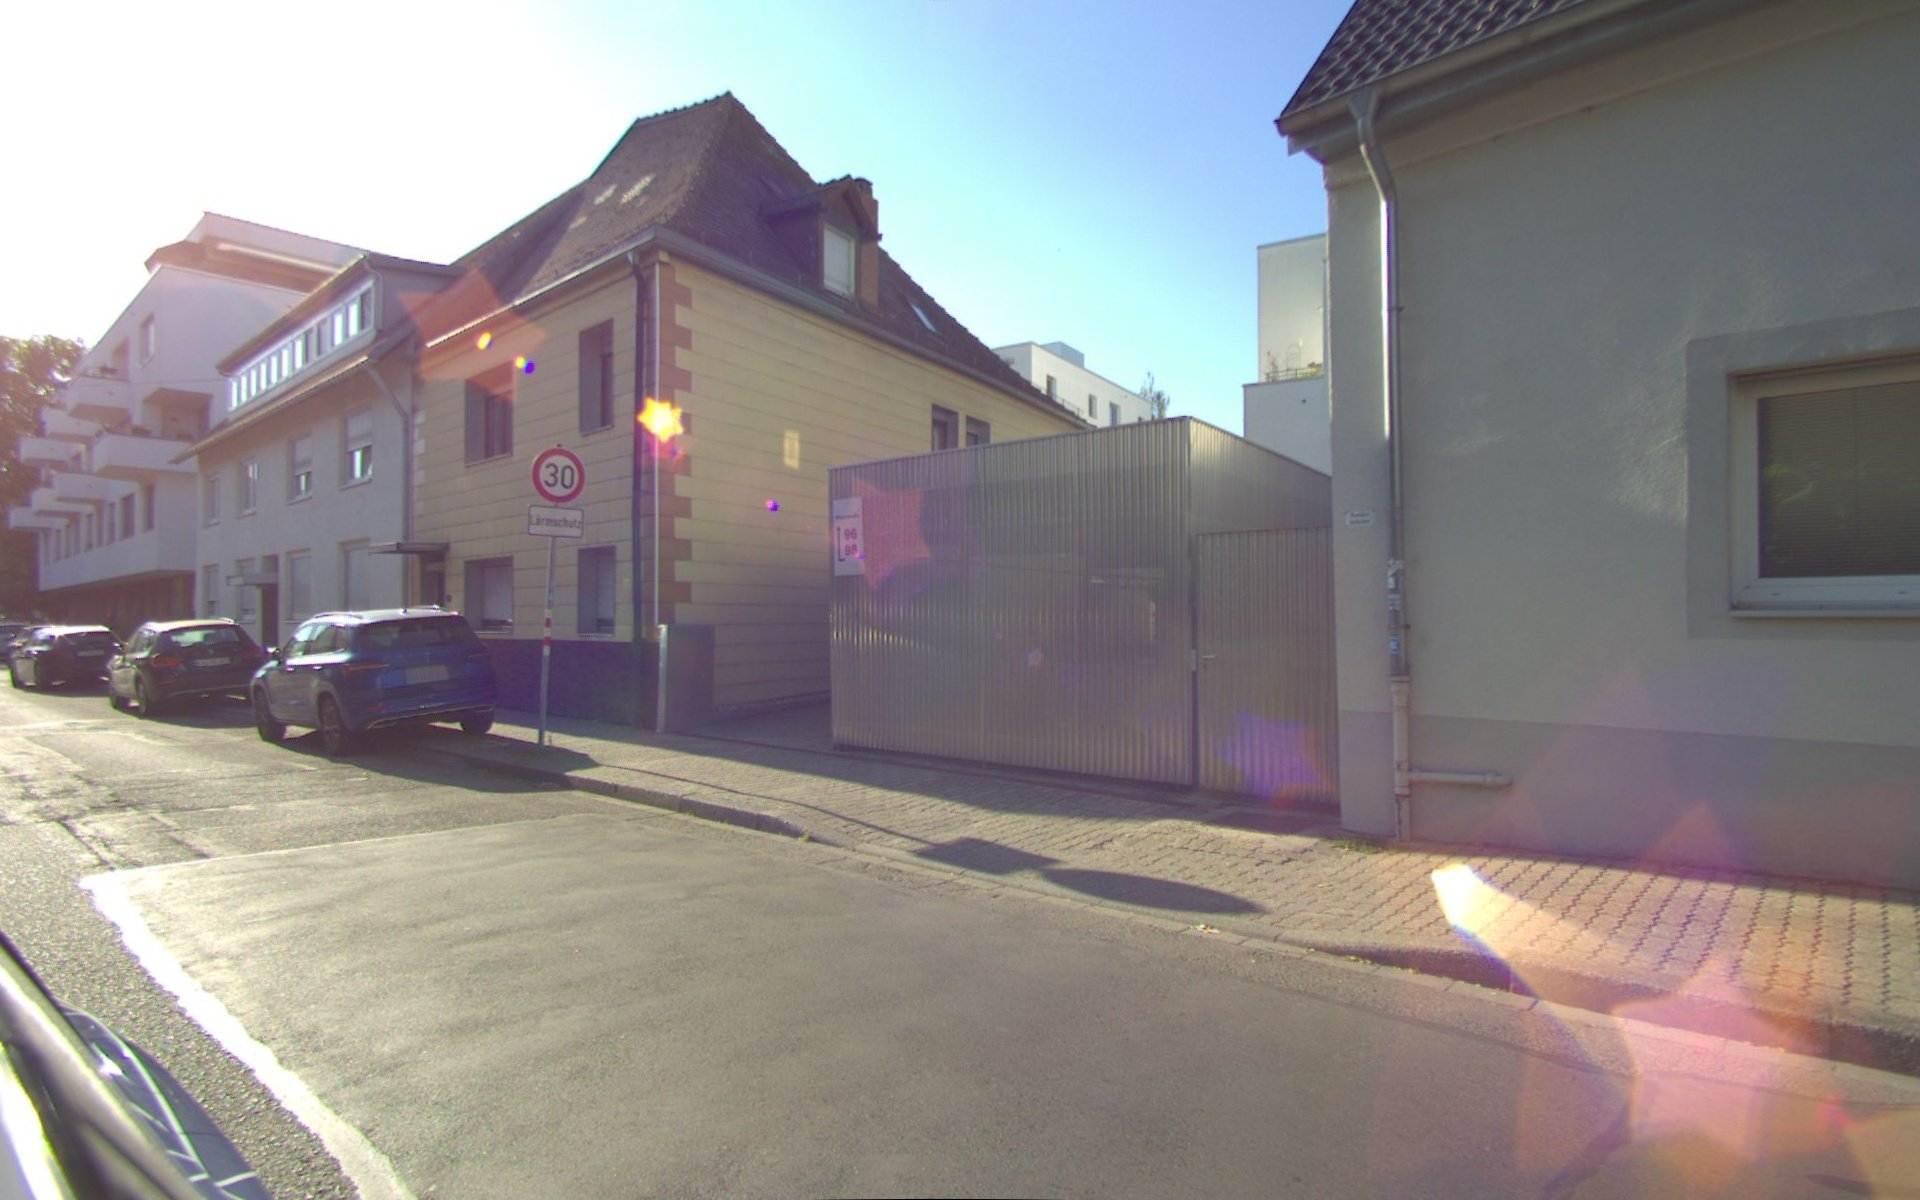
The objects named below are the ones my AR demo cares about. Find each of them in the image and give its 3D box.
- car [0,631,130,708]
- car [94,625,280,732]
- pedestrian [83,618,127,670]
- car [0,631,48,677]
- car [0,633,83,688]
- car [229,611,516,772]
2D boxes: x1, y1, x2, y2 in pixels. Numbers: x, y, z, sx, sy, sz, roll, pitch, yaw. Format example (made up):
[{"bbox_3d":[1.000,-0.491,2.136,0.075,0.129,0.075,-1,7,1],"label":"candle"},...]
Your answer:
[{"bbox_3d":[-22.047,1.629,24.758,4.327,1.546,1.669,0,3,37],"label":"car"},{"bbox_3d":[-14.160,1.337,18.448,4.334,1.599,1.838,-2,2,41],"label":"car"},{"bbox_3d":[-31.991,1.622,37.880,0.849,1.832,1.136,-5,3,-26],"label":"pedestrian"},{"bbox_3d":[-38.364,2.122,40.542,4.614,1.598,1.841,0,3,38],"label":"car"},{"bbox_3d":[-31.325,2.009,34.388,3.854,1.547,1.651,0,3,40],"label":"car"},{"bbox_3d":[-7.505,1.054,12.768,4.190,1.599,1.791,-3,1,41],"label":"car"}]
